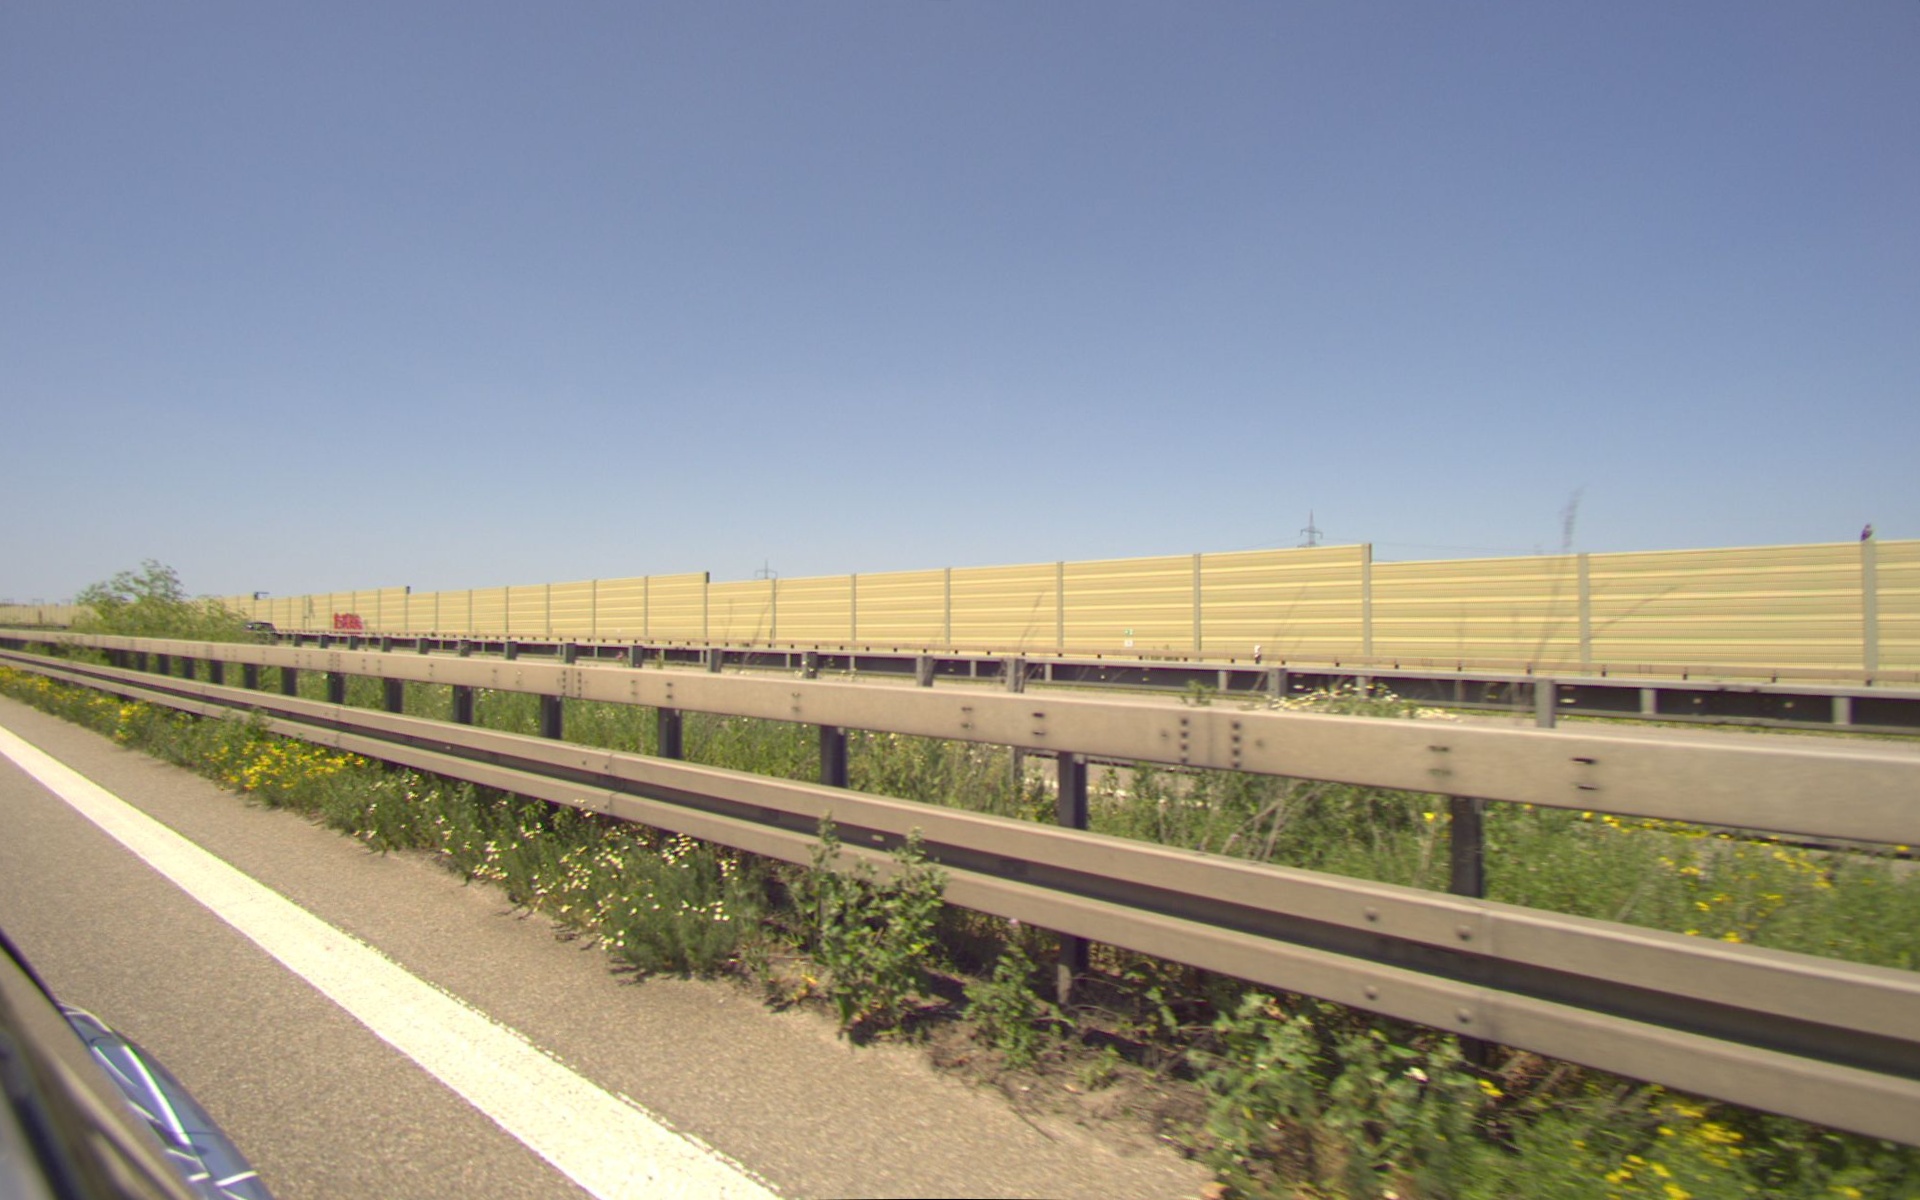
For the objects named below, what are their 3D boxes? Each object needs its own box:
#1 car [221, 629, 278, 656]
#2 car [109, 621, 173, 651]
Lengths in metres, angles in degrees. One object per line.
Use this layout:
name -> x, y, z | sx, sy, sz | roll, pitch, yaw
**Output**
car -> -41.310, 2.450, 58.789 | 4.482, 1.420, 1.700 | -1, 0, 41
car -> -47.347, 2.067, 58.456 | 5.304, 1.606, 1.973 | -1, -3, 41
